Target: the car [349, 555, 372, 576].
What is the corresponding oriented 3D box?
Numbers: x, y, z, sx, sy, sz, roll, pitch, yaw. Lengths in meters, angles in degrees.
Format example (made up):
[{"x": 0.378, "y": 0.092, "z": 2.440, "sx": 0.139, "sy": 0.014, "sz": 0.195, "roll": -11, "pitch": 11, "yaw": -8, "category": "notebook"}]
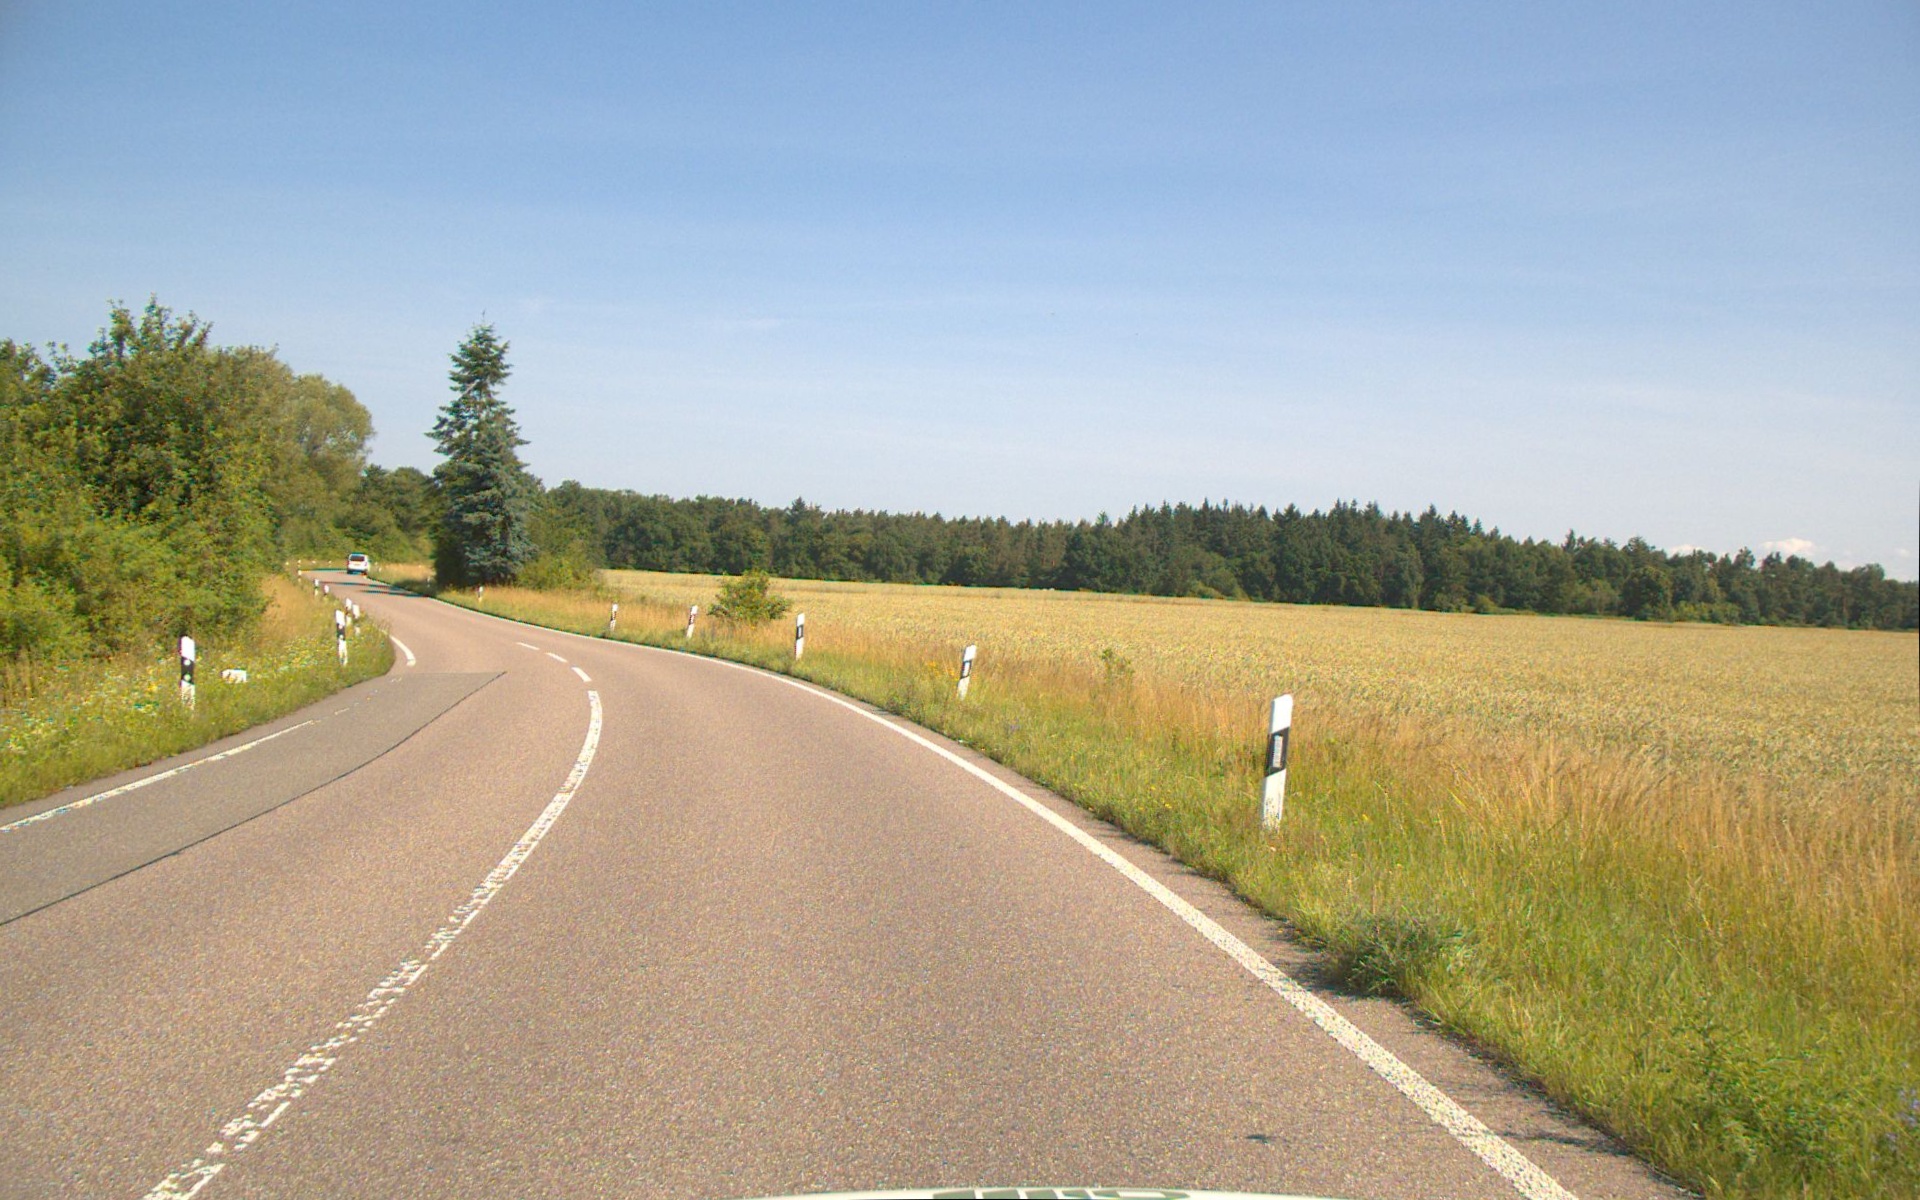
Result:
[{"x": -59.060, "y": -3.409, "z": 162.930, "sx": 1.932, "sy": 1.833, "sz": 4.140, "roll": 5, "pitch": 1, "yaw": -19, "category": "car"}]
